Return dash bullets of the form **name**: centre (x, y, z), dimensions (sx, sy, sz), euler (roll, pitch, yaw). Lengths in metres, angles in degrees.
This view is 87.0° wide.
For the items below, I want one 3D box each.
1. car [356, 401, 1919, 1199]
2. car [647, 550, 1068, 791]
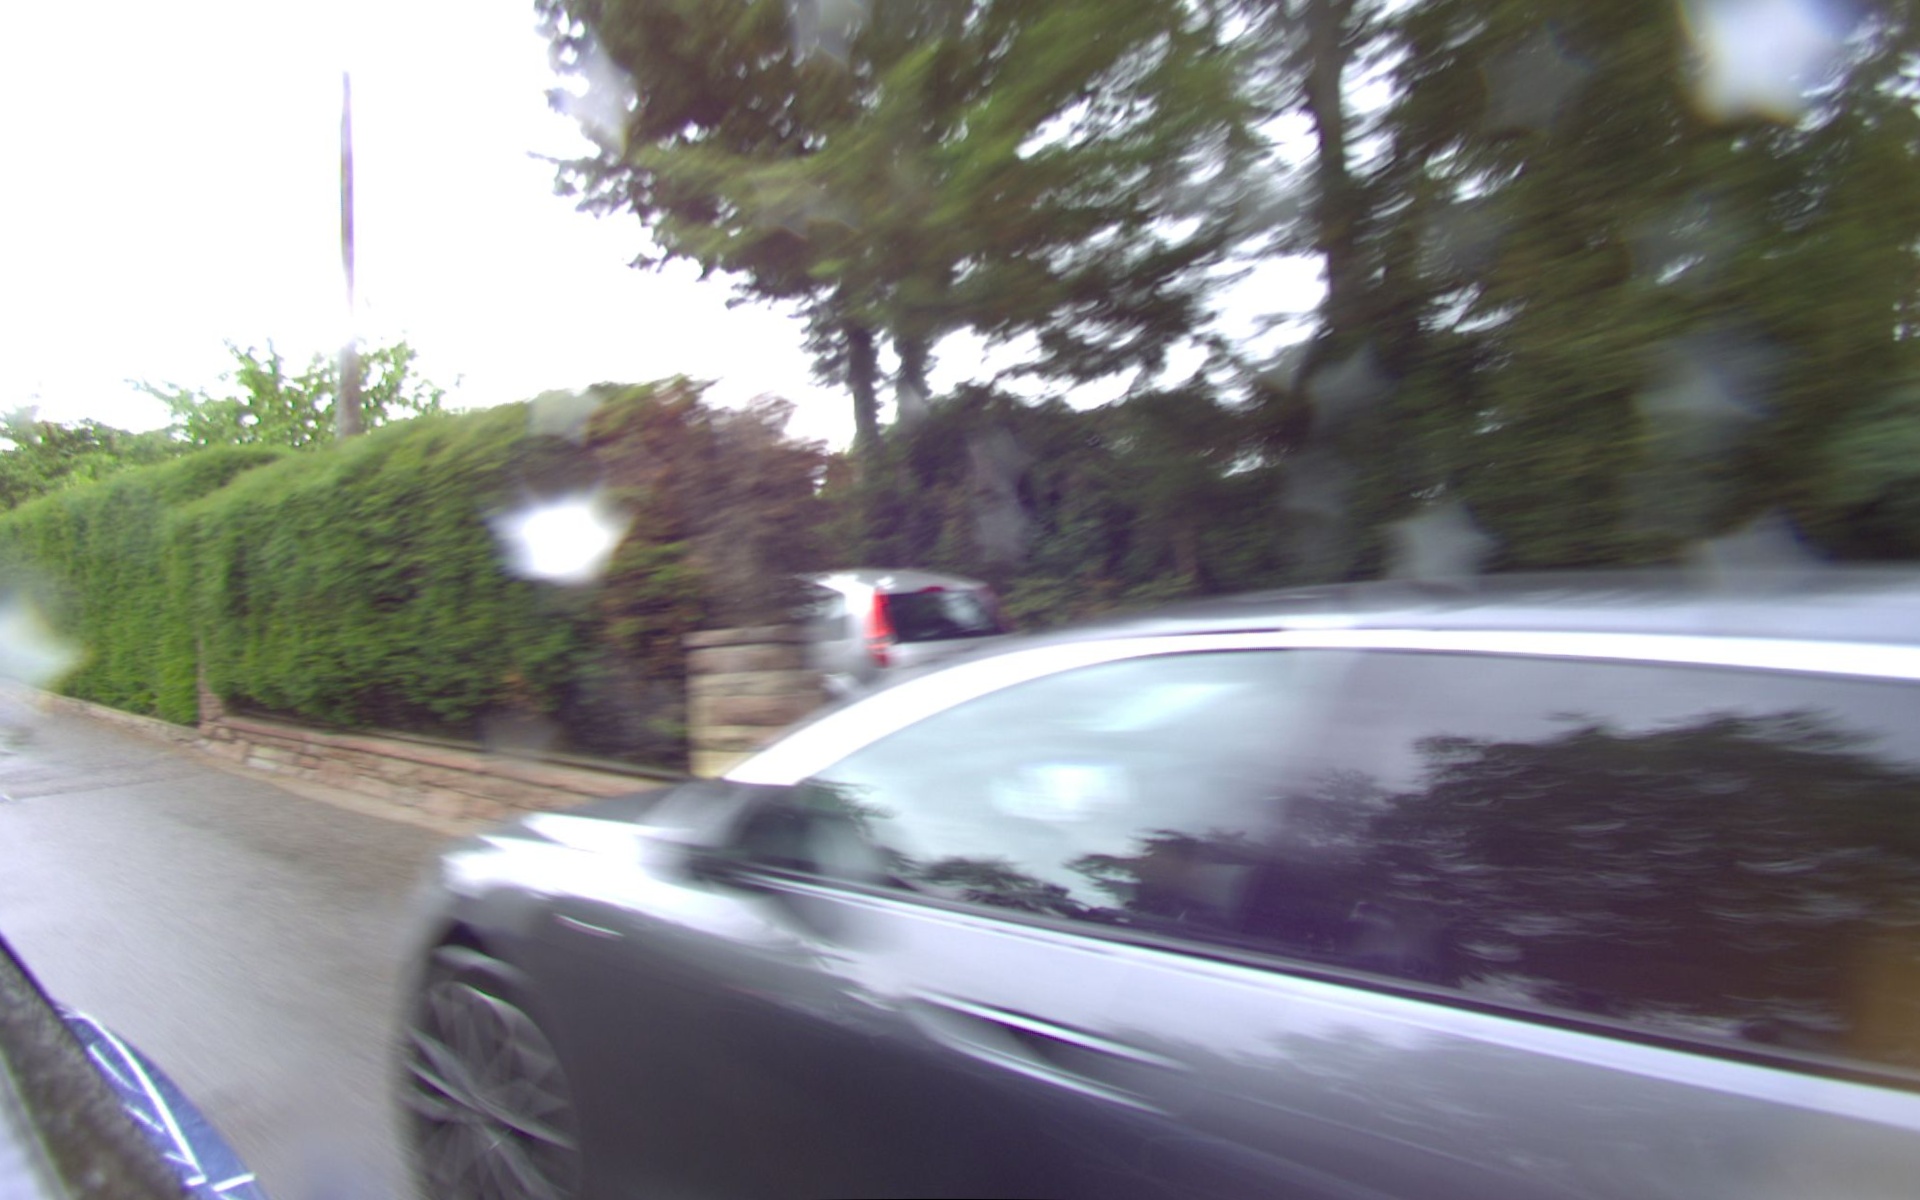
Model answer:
- **car**: centre (0.863, 0.631, 1.703), dimensions (4.417, 1.535, 1.870), euler (-1, 0, 40)
- **car**: centre (-1.031, 0.377, 8.626), dimensions (1.762, 1.537, 3.662), euler (-4, 5, -41)
